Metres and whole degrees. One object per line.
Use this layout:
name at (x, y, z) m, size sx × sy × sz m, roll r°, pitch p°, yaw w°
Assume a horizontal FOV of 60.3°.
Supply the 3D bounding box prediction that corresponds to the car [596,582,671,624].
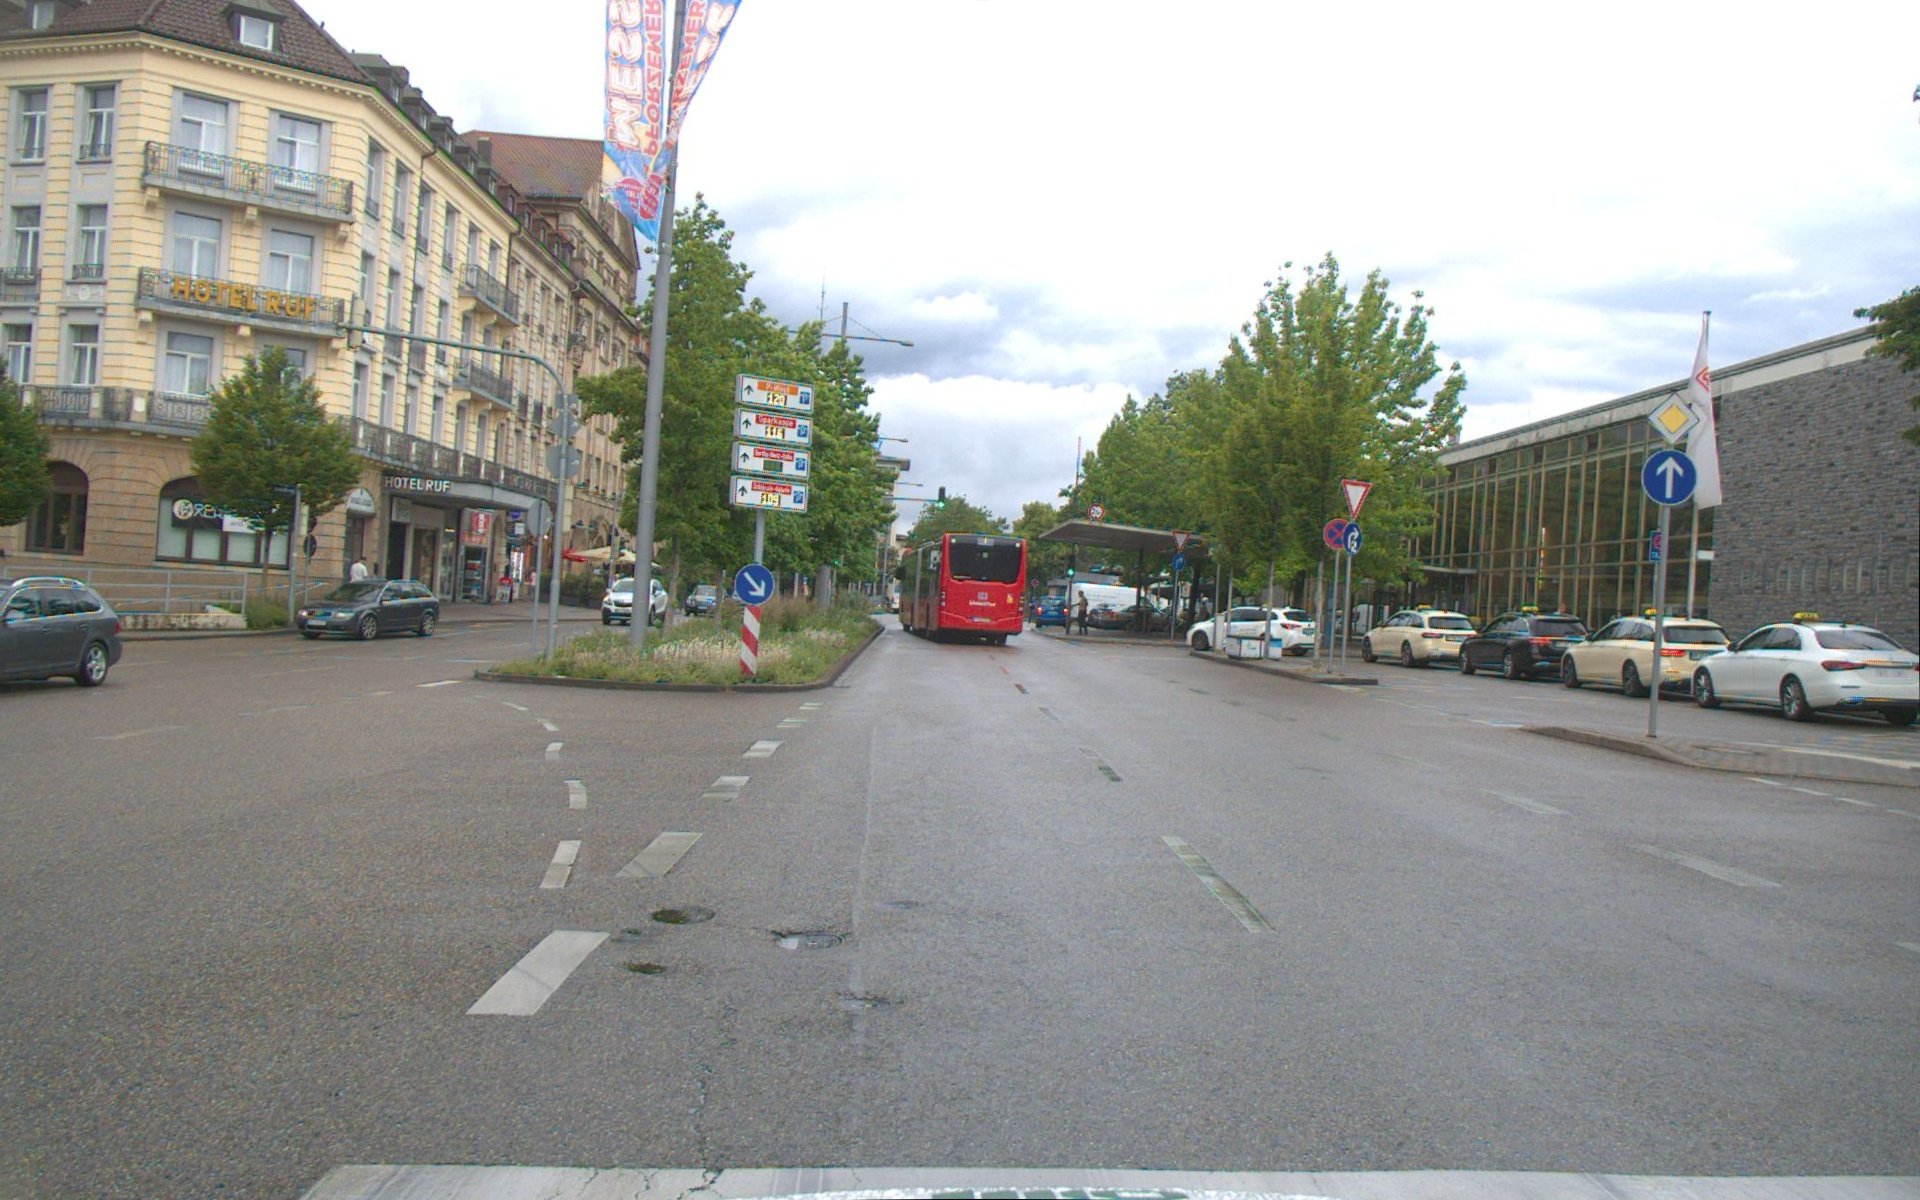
car at (-11.537, 0.115, 58.681) m, size 1.718 × 1.393 × 4.061 m, roll 2°, pitch 0°, yaw 2°

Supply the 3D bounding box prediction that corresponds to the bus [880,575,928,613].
bus at (-5.453, -0.562, 156.524) m, size 3.687 × 3.265 × 15.509 m, roll 1°, pitch 0°, yaw -5°

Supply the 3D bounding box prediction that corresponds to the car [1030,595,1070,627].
car at (4.630, 0.544, 85.457) m, size 1.779 × 1.557 × 3.999 m, roll 1°, pitch 0°, yaw -1°

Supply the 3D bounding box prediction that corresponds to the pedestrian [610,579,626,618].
pedestrian at (-15.529, -0.081, 75.135) m, size 0.563 × 1.762 × 0.609 m, roll 2°, pitch 0°, yaw -1°

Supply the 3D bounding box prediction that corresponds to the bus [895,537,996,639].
bus at (-0.655, -0.411, 58.484) m, size 2.689 × 3.229 × 10.183 m, roll 1°, pitch 0°, yaw -5°

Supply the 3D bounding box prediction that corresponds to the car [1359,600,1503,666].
car at (12.561, 0.850, 44.475) m, size 1.956 × 1.628 × 4.814 m, roll 1°, pitch 0°, yaw -8°

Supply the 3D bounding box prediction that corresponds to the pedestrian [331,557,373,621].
pedestrian at (-18.409, -0.328, 50.066) m, size 0.845 × 1.911 × 1.022 m, roll 2°, pitch 0°, yaw -1°

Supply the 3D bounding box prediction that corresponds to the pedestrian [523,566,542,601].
pedestrian at (-19.198, -0.738, 74.321) m, size 0.656 × 1.537 × 0.512 m, roll 1°, pitch 0°, yaw -39°

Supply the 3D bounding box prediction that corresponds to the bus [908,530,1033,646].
bus at (0.172, -0.363, 50.949) m, size 2.691 × 3.229 × 8.106 m, roll 1°, pitch 0°, yaw -8°

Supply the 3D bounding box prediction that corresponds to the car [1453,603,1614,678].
car at (13.061, 0.883, 37.998) m, size 1.875 × 1.551 × 4.740 m, roll 1°, pitch 0°, yaw -3°

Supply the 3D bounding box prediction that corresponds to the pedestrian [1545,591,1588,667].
pedestrian at (16.682, 0.784, 45.507) m, size 0.795 × 2.049 × 0.921 m, roll 2°, pitch 0°, yaw -1°

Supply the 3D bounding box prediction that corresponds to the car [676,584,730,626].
car at (-11.696, 0.212, 75.507) m, size 1.954 × 1.789 × 3.998 m, roll 2°, pitch 0°, yaw -3°

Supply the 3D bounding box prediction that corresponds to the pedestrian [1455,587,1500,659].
pedestrian at (14.974, 0.656, 47.833) m, size 0.801 × 2.049 × 0.914 m, roll 2°, pitch 0°, yaw -25°

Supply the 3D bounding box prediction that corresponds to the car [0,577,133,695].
car at (-12.760, 0.450, 21.662) m, size 1.718 × 1.466 × 4.061 m, roll 0°, pitch 0°, yaw 2°

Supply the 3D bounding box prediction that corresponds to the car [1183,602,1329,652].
car at (9.102, 0.812, 51.189) m, size 1.764 × 1.409 × 4.303 m, roll 1°, pitch 0°, yaw -41°

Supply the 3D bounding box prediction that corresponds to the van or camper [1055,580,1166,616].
van or camper at (9.412, -0.107, 102.972) m, size 6.675 × 2.049 × 2.364 m, roll 1°, pitch -1°, yaw -27°

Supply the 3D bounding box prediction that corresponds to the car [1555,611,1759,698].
car at (13.252, 0.988, 31.777) m, size 1.809 × 1.477 × 4.664 m, roll 1°, pitch 0°, yaw -2°

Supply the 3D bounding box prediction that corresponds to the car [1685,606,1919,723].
car at (13.382, 0.945, 26.060) m, size 1.739 × 1.617 × 4.614 m, roll 1°, pitch 0°, yaw -2°

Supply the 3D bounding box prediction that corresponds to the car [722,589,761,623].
car at (-12.252, 0.318, 93.068) m, size 1.955 × 1.822 × 3.996 m, roll 2°, pitch 0°, yaw -5°

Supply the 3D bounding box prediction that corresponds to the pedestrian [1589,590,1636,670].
pedestrian at (17.105, 0.770, 43.377) m, size 0.795 × 2.049 × 0.921 m, roll 2°, pitch 0°, yaw -2°

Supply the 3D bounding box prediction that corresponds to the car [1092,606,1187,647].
car at (8.951, 1.304, 82.392) m, size 4.273 × 1.890 × 1.988 m, roll 2°, pitch 0°, yaw -21°

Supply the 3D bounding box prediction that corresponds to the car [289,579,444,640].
car at (-14.818, 0.211, 41.540) m, size 1.717 × 1.393 × 4.063 m, roll 2°, pitch 1°, yaw 13°

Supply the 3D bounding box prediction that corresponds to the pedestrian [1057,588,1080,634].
pedestrian at (4.370, 0.444, 66.758) m, size 0.705 × 1.822 × 0.663 m, roll 2°, pitch 0°, yaw -12°

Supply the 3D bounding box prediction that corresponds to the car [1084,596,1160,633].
car at (9.475, 0.848, 96.777) m, size 3.929 × 2.049 × 1.988 m, roll 2°, pitch 0°, yaw -21°
